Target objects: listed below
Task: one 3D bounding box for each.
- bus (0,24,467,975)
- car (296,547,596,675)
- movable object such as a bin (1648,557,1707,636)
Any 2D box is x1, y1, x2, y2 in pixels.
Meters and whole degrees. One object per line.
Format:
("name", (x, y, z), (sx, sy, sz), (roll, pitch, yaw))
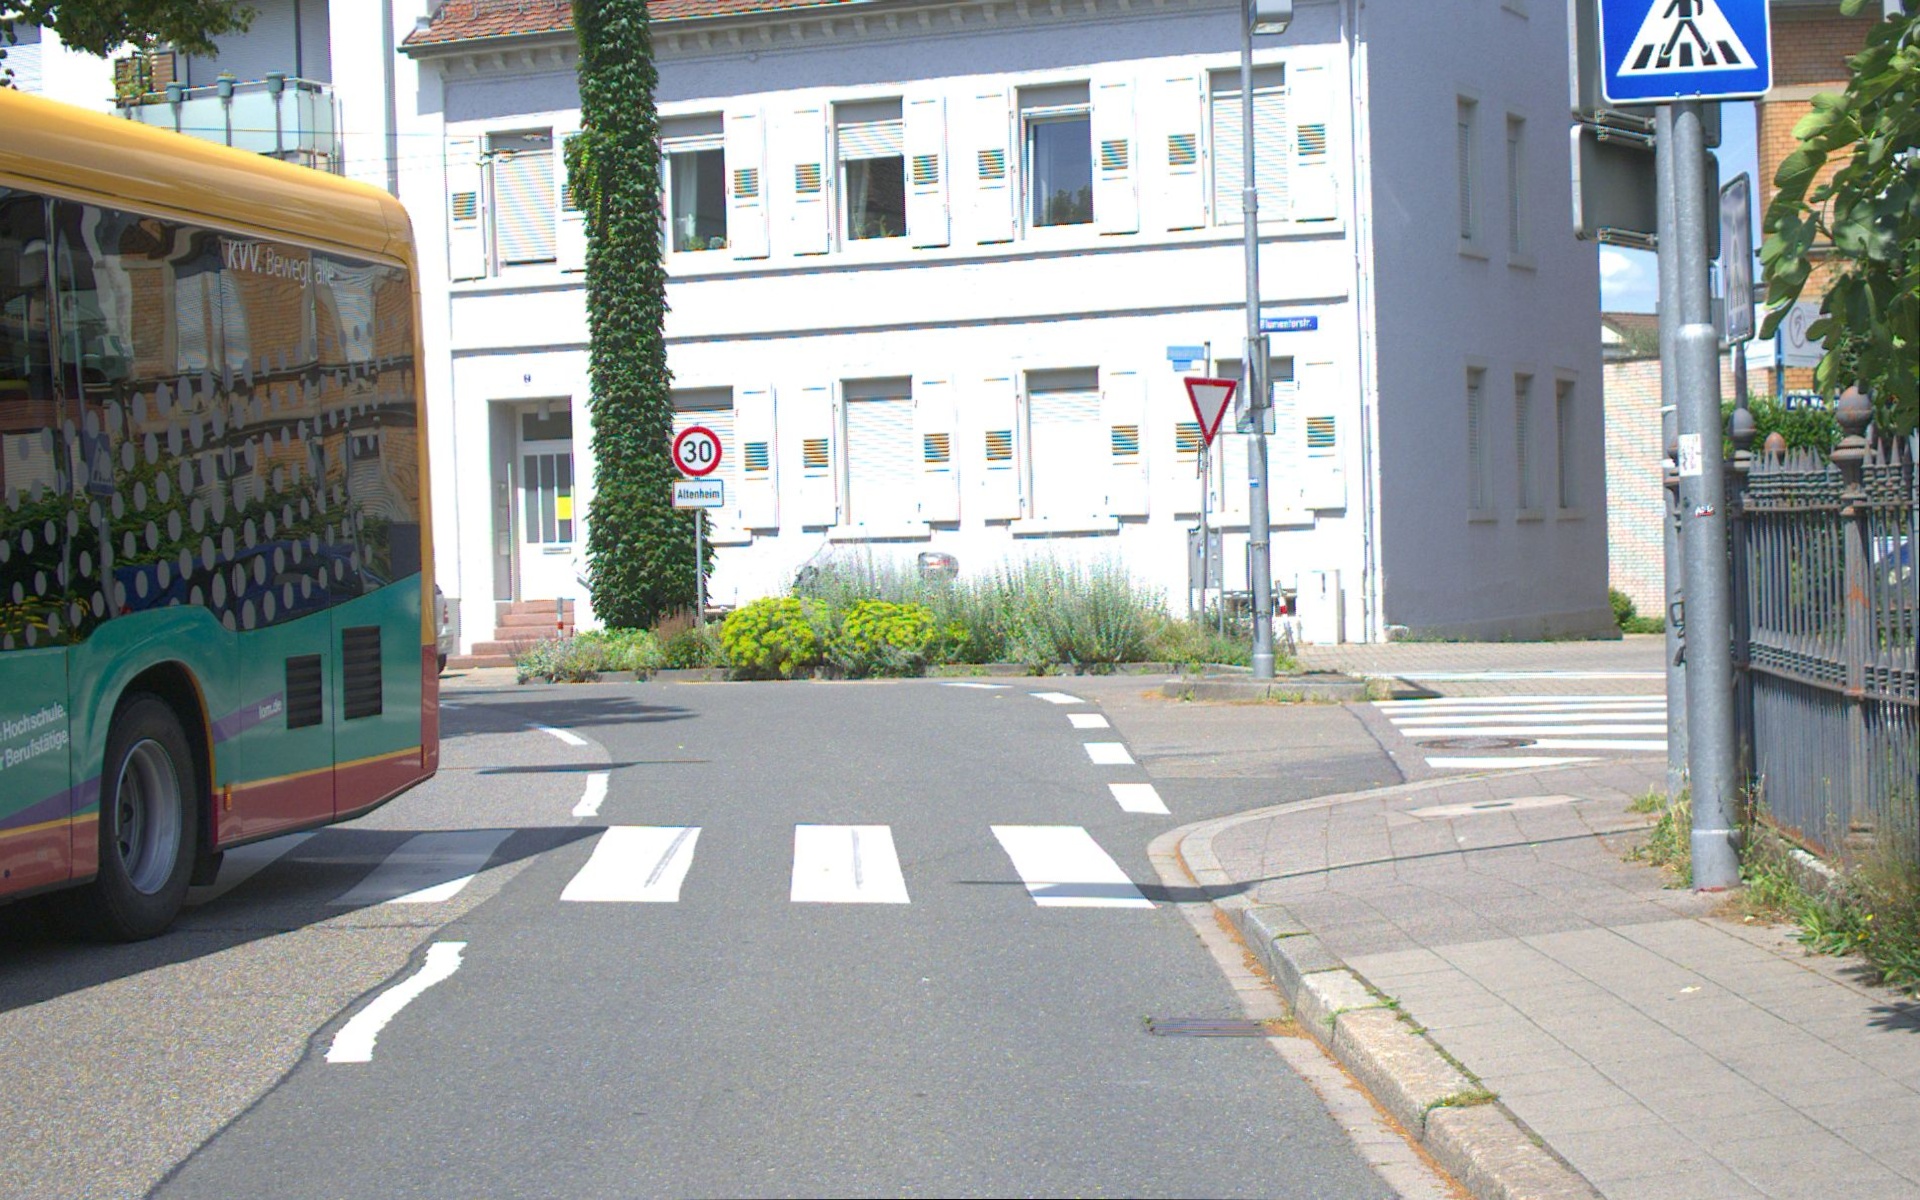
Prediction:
("bus", (-4.850, -0.308, 10.489), (2.781, 3.197, 12.301), (0, 2, 11))
("car", (-6.588, 0.147, 44.007), (3.612, 1.581, 1.581), (0, -1, 31))
("movable object such as a bin", (8.367, -0.035, 40.090), (0.418, 0.913, 0.560), (1, -1, -25))
